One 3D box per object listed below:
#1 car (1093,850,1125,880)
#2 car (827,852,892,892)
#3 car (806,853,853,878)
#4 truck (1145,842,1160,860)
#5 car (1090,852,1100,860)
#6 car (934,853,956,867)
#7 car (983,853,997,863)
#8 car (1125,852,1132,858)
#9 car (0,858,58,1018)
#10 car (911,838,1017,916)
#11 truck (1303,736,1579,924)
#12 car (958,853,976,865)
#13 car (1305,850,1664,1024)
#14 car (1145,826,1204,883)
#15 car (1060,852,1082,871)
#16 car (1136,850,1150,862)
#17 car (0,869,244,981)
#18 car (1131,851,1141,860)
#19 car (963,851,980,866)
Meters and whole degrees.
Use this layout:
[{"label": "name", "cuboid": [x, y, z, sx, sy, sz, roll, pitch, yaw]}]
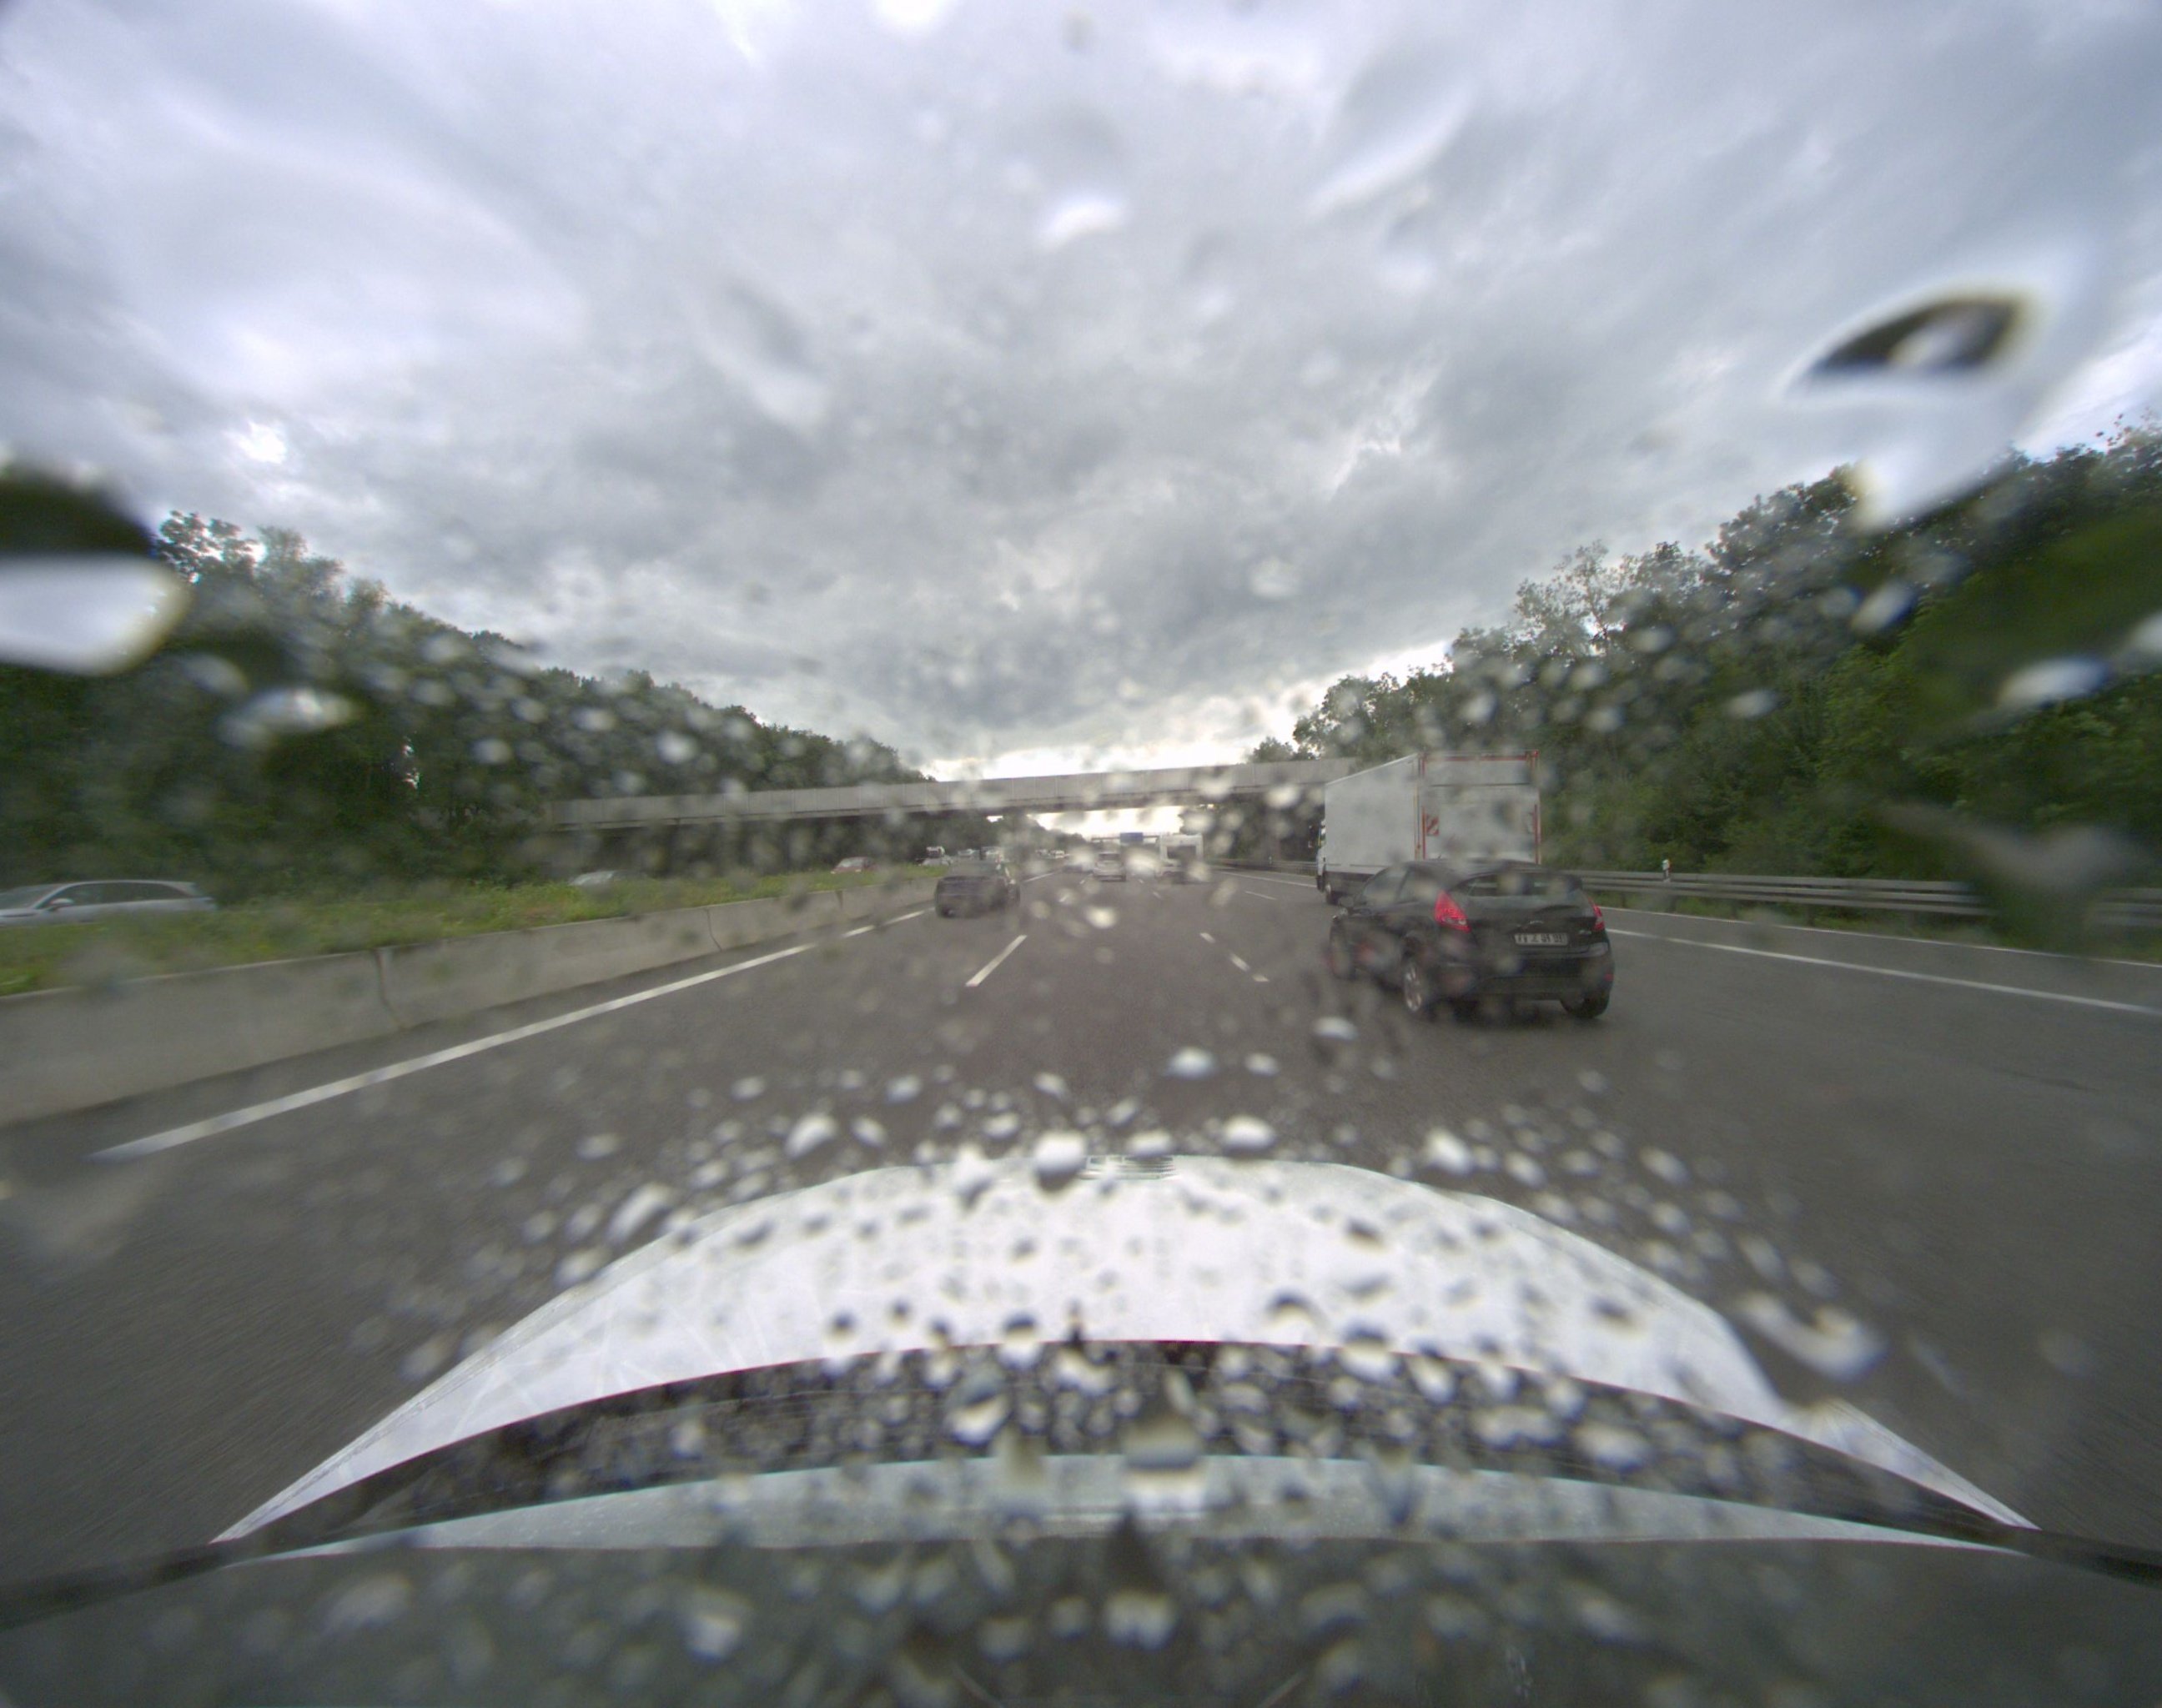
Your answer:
[{"label": "car", "cuboid": [1.697, 0.610, 49.268, 1.774, 1.716, 4.355, -1, 0, 2]}, {"label": "car", "cuboid": [-11.851, 0.923, 43.897, 2.036, 2.013, 4.790, -1, 0, 2]}, {"label": "car", "cuboid": [-20.825, 0.912, 67.667, 2.212, 1.952, 4.830, -1, 0, 2]}, {"label": "truck", "cuboid": [15.618, -0.689, 177.817, 2.895, 3.810, 7.277, -1, 0, 2]}, {"label": "car", "cuboid": [2.601, 0.435, 152.963, 1.774, 1.481, 4.354, -1, 0, 1]}, {"label": "car", "cuboid": [-19.835, 0.889, 119.077, 2.212, 1.952, 4.830, -1, 0, 2]}, {"label": "car", "cuboid": [-18.213, 0.820, 163.470, 2.212, 1.952, 4.830, -1, 0, 2]}, {"label": "car", "cuboid": [14.150, 0.181, 244.386, 2.035, 1.823, 4.907, -1, 0, 3]}, {"label": "car", "cuboid": [-13.558, 0.988, 7.329, 1.986, 1.850, 5.227, -1, 0, 2]}, {"label": "car", "cuboid": [-2.990, 0.547, 22.026, 1.986, 1.821, 5.164, -1, 0, 1]}, {"label": "truck", "cuboid": [8.520, -0.488, 21.179, 3.121, 3.709, 9.853, -1, 0, 2]}, {"label": "car", "cuboid": [-18.807, 0.864, 134.476, 2.212, 1.952, 4.830, -1, 0, 2]}, {"label": "car", "cuboid": [3.903, 0.679, 8.835, 1.878, 1.407, 4.284, -1, 0, 2]}, {"label": "car", "cuboid": [5.106, 0.008, 45.584, 2.558, 2.895, 7.535, -1, 0, 1]}, {"label": "car", "cuboid": [-0.907, 0.704, 78.104, 1.808, 1.689, 4.854, -1, 0, 2]}, {"label": "car", "cuboid": [10.119, 0.322, 133.767, 2.036, 1.823, 4.905, -1, 0, 2]}, {"label": "car", "cuboid": [-20.948, 1.352, 16.650, 2.596, 1.952, 4.830, -1, 0, 2]}, {"label": "car", "cuboid": [11.929, 0.253, 177.214, 2.036, 1.823, 4.905, -1, 0, 2]}, {"label": "car", "cuboid": [-15.787, 0.622, 117.559, 1.987, 2.013, 4.000, -1, 0, 0]}]
